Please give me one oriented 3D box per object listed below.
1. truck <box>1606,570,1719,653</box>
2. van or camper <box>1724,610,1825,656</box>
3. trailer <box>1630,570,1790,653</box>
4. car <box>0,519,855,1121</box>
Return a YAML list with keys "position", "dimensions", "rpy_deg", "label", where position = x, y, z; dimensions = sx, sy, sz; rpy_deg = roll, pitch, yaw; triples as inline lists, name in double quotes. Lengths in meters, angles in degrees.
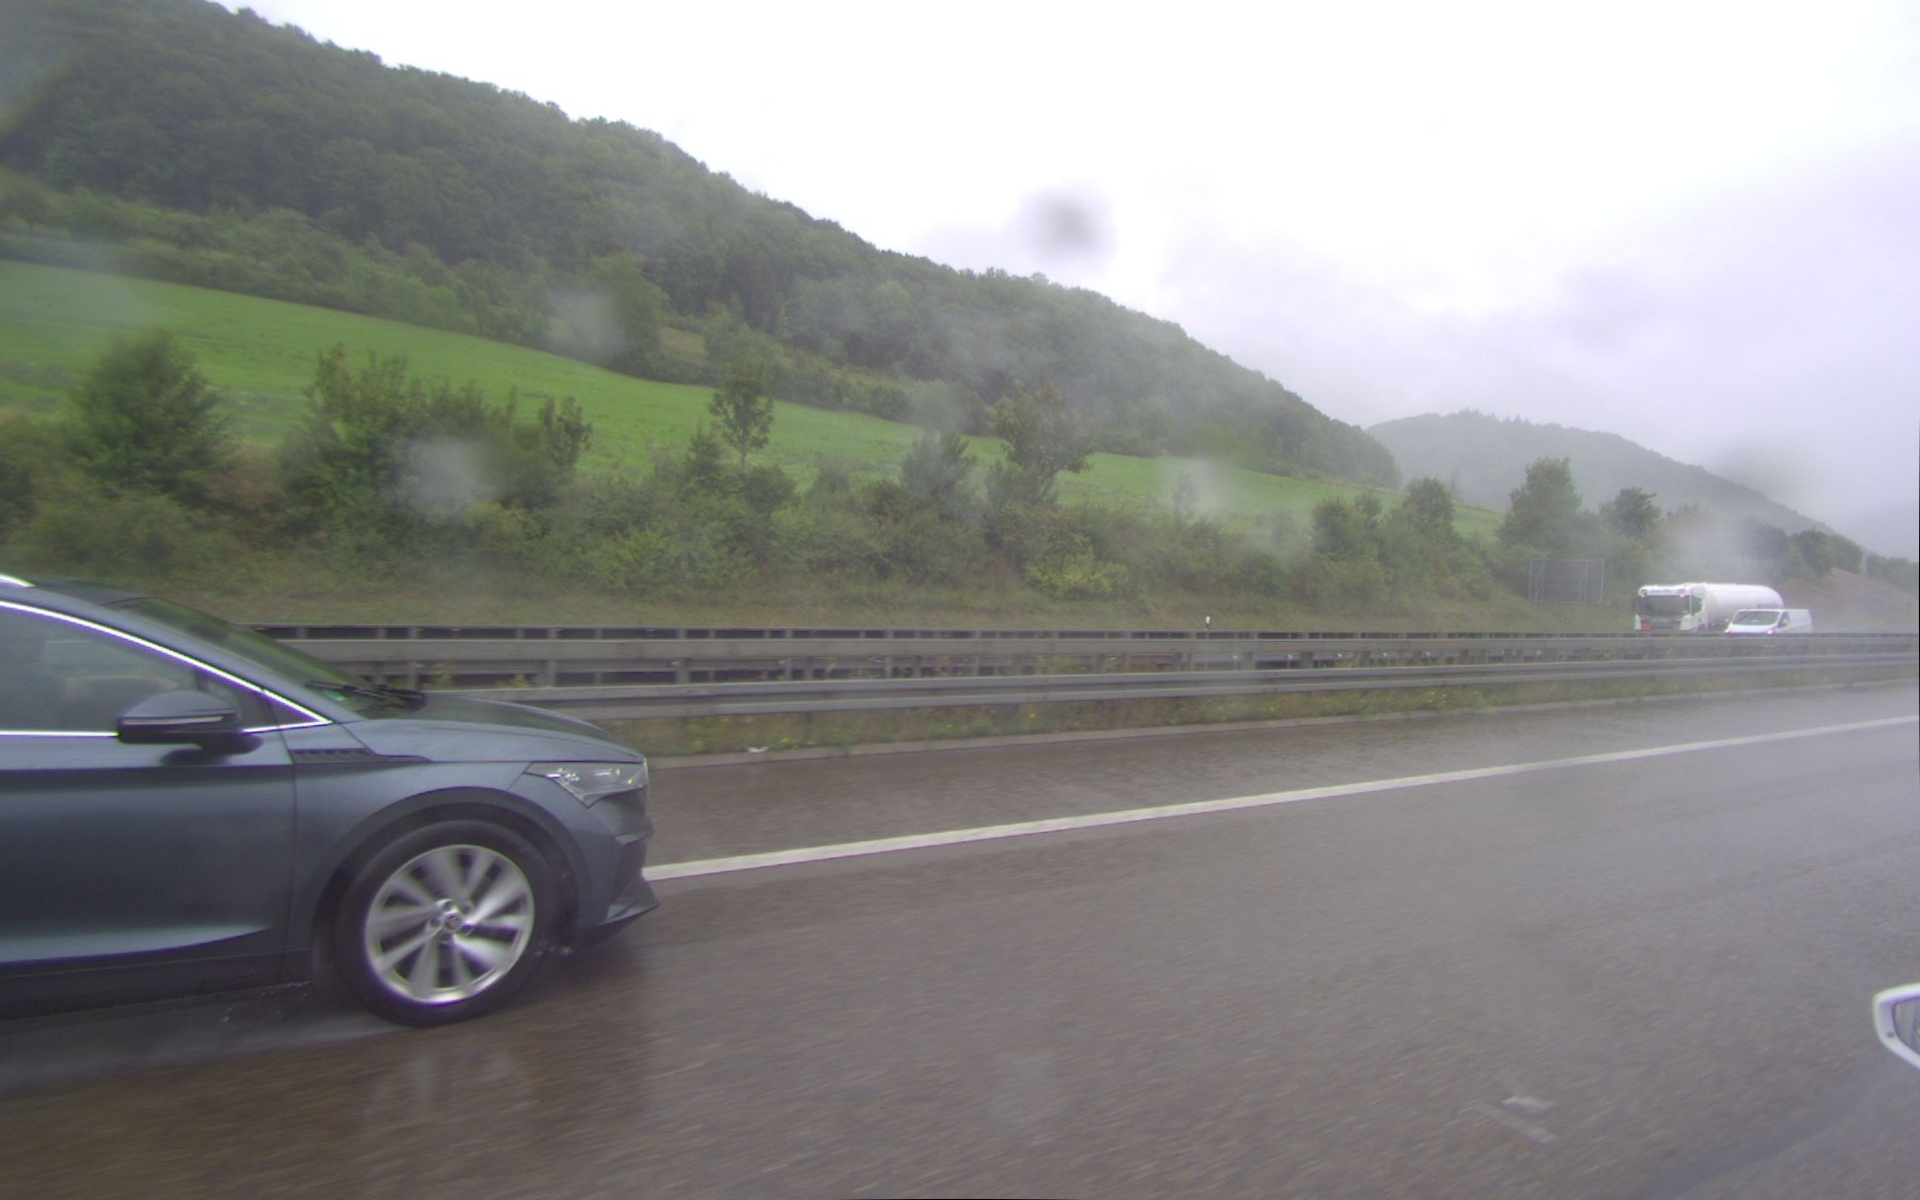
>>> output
- position: [34.257, 0.572, 48.961]
  dimensions: [5.262, 3.852, 2.865]
  rpy_deg: [1, 0, -35]
  label: "truck"
- position: [35.798, 1.431, 44.113]
  dimensions: [5.290, 1.903, 1.981]
  rpy_deg: [1, 0, -34]
  label: "van or camper"
- position: [39.430, 0.642, 52.556]
  dimensions: [12.440, 3.954, 2.914]
  rpy_deg: [1, -1, -35]
  label: "trailer"
- position: [-3.032, 0.649, 3.817]
  dimensions: [4.850, 1.705, 1.985]
  rpy_deg: [2, -2, -29]
  label: "car"
